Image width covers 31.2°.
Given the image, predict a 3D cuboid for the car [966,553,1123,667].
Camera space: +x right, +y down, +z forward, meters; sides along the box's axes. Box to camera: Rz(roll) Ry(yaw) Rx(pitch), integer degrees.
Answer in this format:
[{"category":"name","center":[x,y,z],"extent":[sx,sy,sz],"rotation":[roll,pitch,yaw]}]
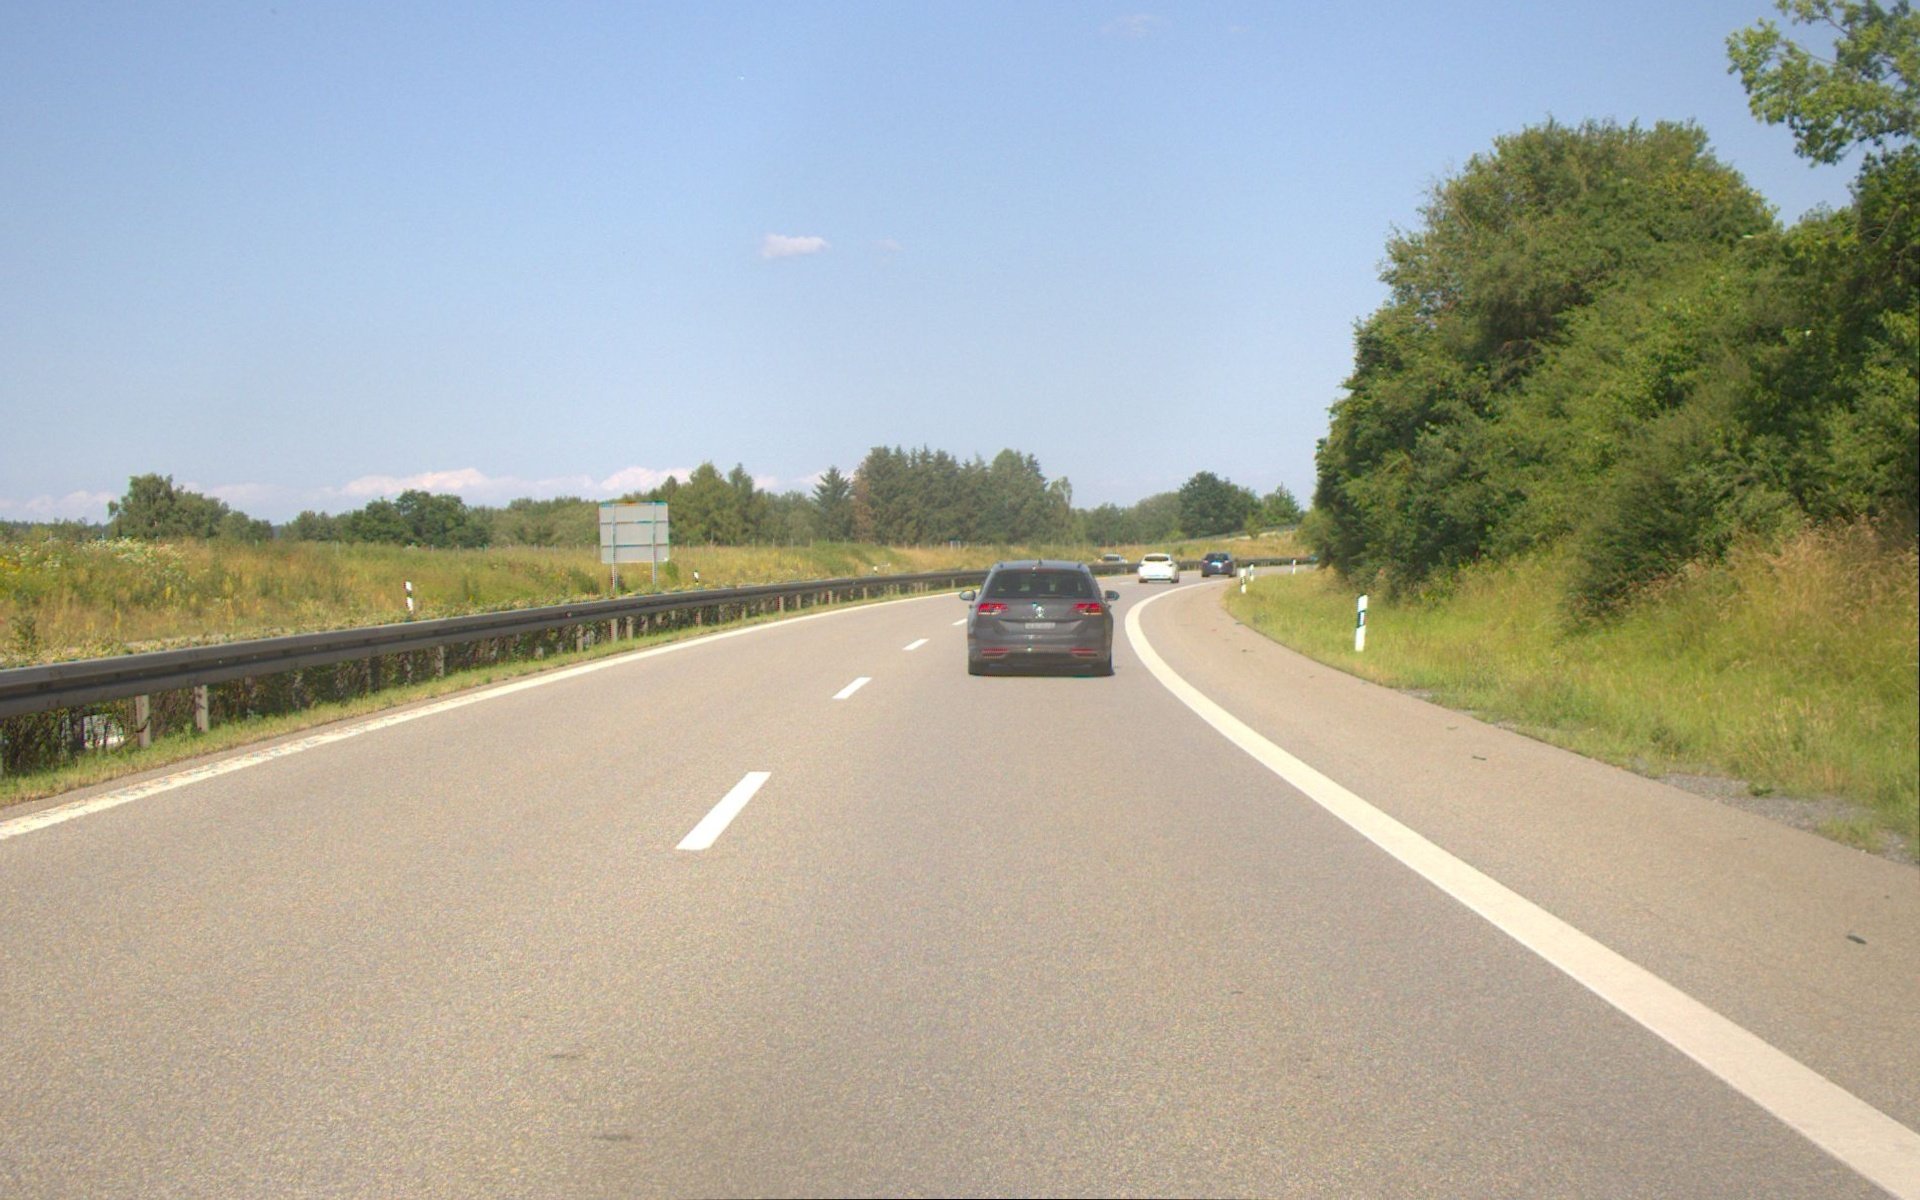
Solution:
[{"category":"car","center":[1.015,0.095,43.158],"extent":[1.791,1.340,4.000],"rotation":[1,1,-1]}]

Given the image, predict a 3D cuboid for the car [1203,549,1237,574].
[{"category":"car","center":[15.139,-2.226,200.247],"extent":[1.711,1.382,3.354],"rotation":[1,0,8]}]

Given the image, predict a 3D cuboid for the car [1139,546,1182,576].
[{"category":"car","center":[9.626,-1.852,165.134],"extent":[2.007,1.340,3.999],"rotation":[1,0,4]}]
